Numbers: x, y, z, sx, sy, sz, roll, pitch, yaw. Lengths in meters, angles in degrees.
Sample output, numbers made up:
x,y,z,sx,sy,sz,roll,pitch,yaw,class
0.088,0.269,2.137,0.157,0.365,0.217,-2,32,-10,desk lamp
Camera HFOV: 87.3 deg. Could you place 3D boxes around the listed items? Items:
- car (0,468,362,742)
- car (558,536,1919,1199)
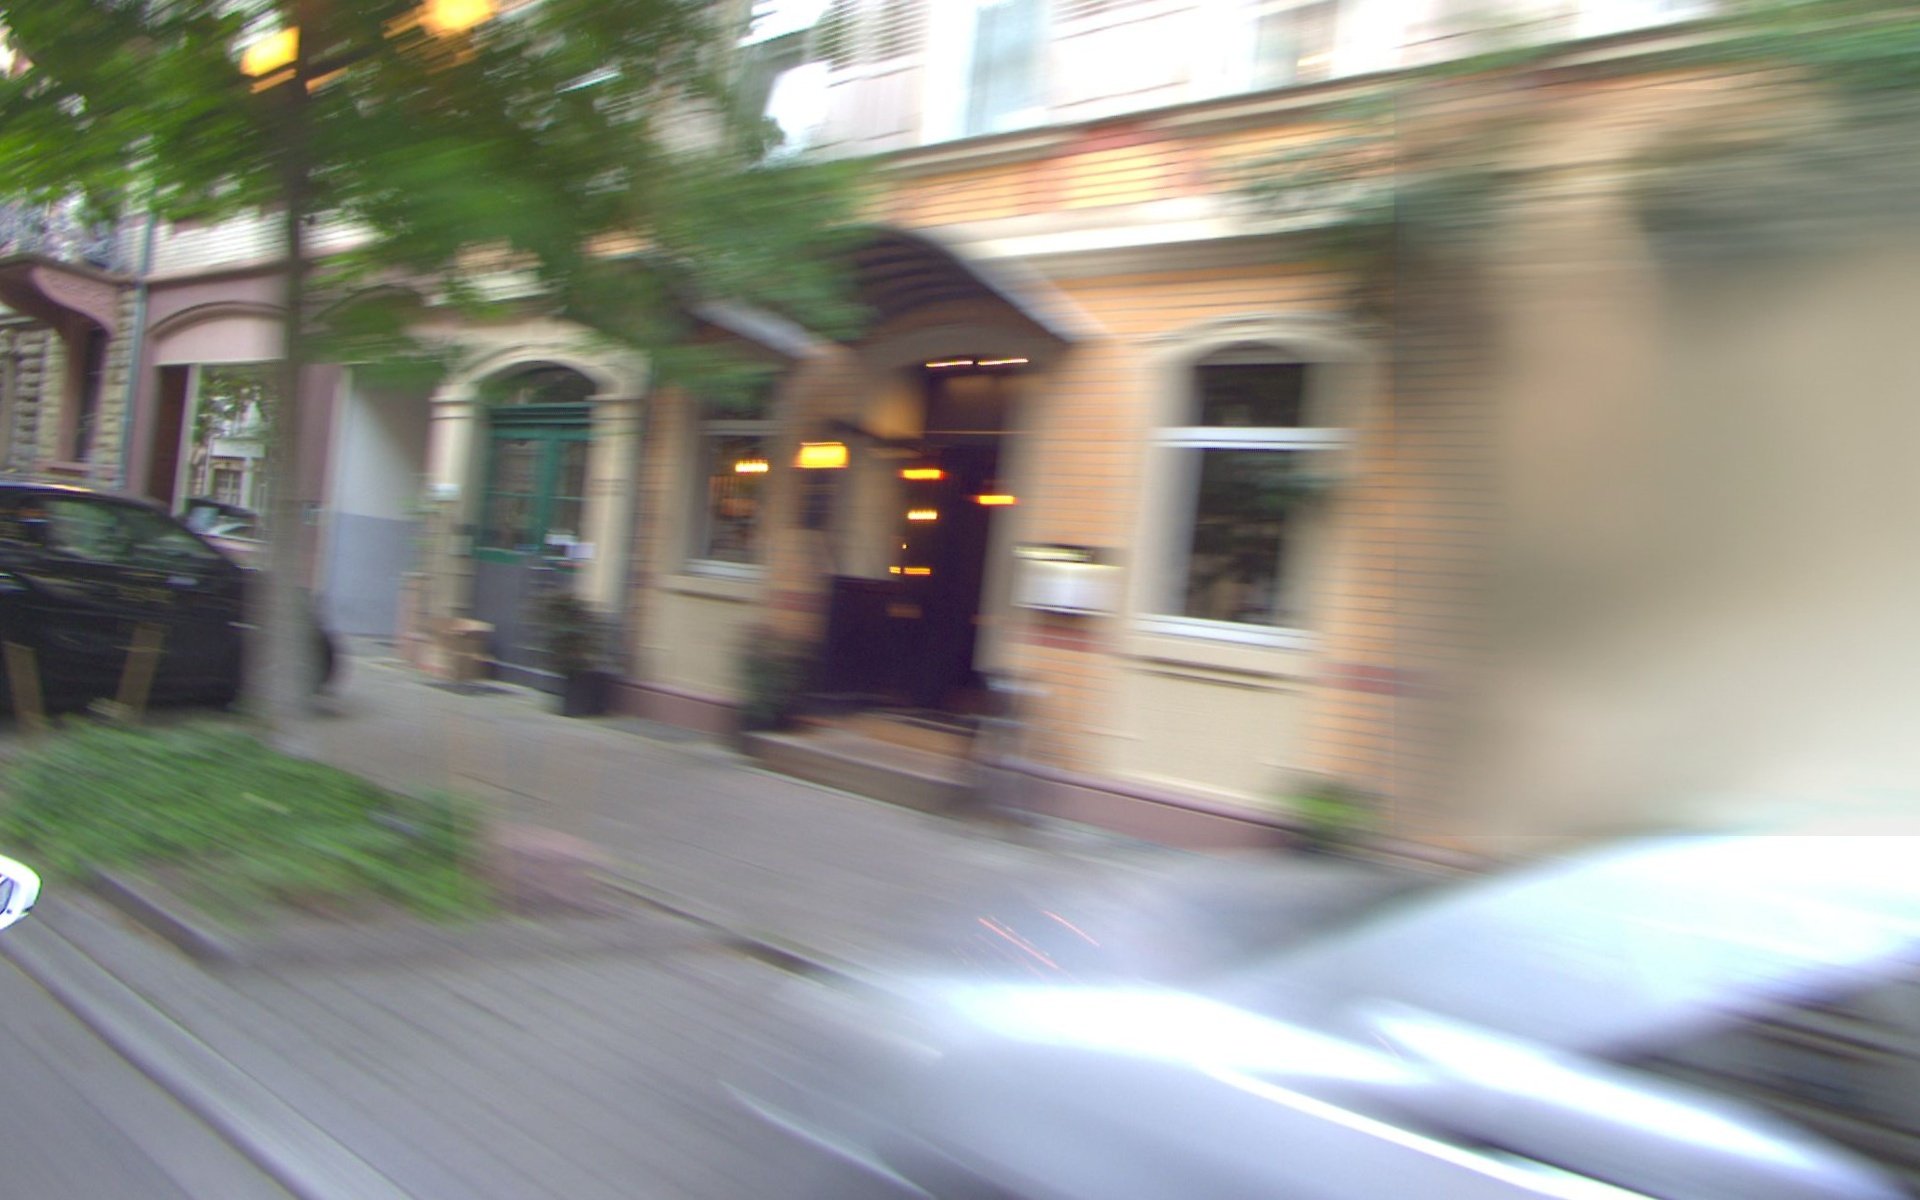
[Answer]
x,y,z,sx,sy,sz,roll,pitch,yaw,class
-6.067,-0.030,6.924,1.771,1.621,2.797,7,2,32,car
1.443,0.897,1.591,4.035,1.509,1.735,7,0,32,car
